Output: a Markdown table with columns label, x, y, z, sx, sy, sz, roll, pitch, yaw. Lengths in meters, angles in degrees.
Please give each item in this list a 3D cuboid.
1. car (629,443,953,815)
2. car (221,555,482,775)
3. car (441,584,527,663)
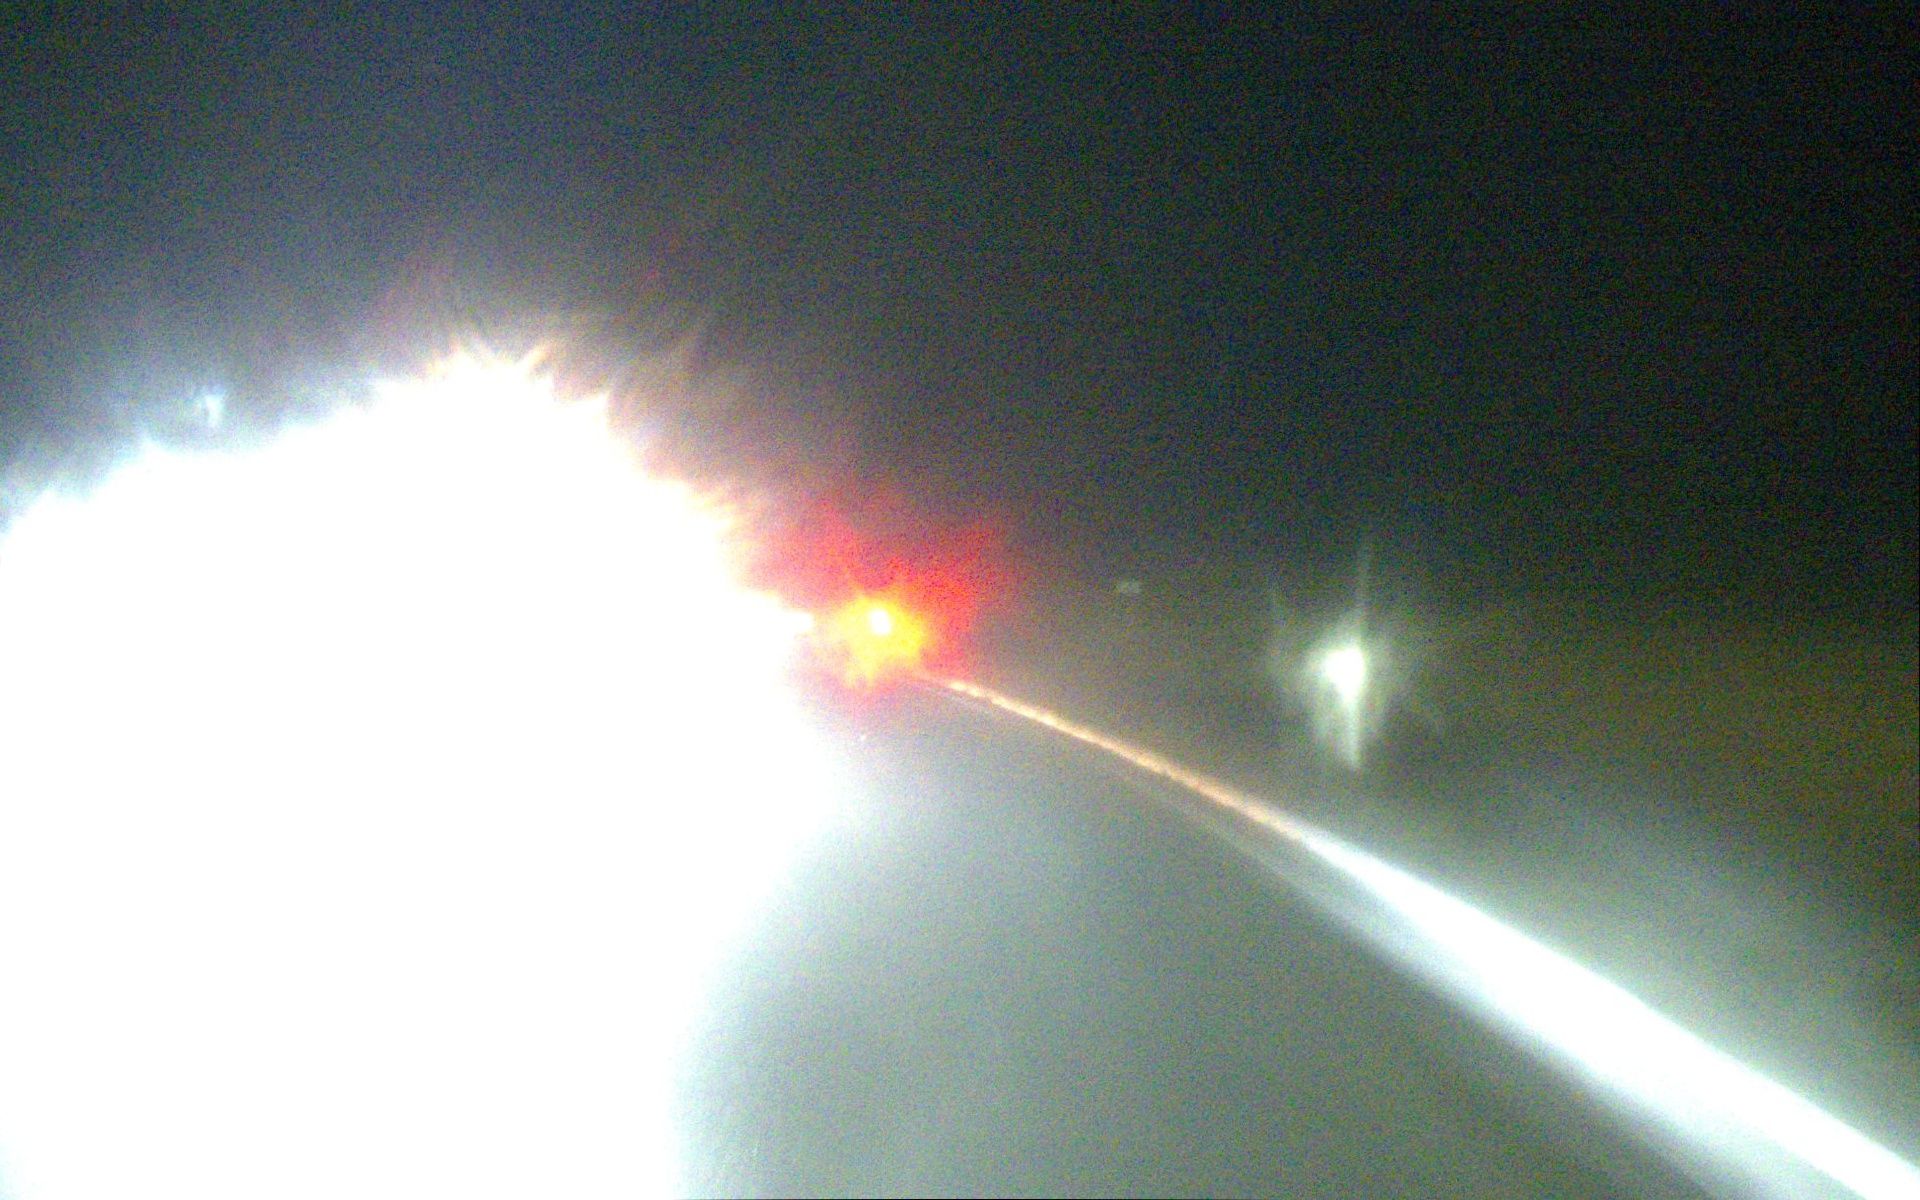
| label | x | y | z | sx | sy | sz | roll | pitch | yaw |
| --- | --- | --- | --- | --- | --- | --- | --- | --- | --- |
| car | -1.292 | 0.176 | 26.756 | 2.181 | 2.548 | 4.508 | 3 | 1 | -2 |
| car | -4.712 | 0.452 | 27.014 | 1.595 | 1.505 | 3.601 | -2 | 2 | -4 |
| car | -10.071 | 0.473 | 72.924 | 1.563 | 1.520 | 3.486 | -3 | 1 | -5 |
